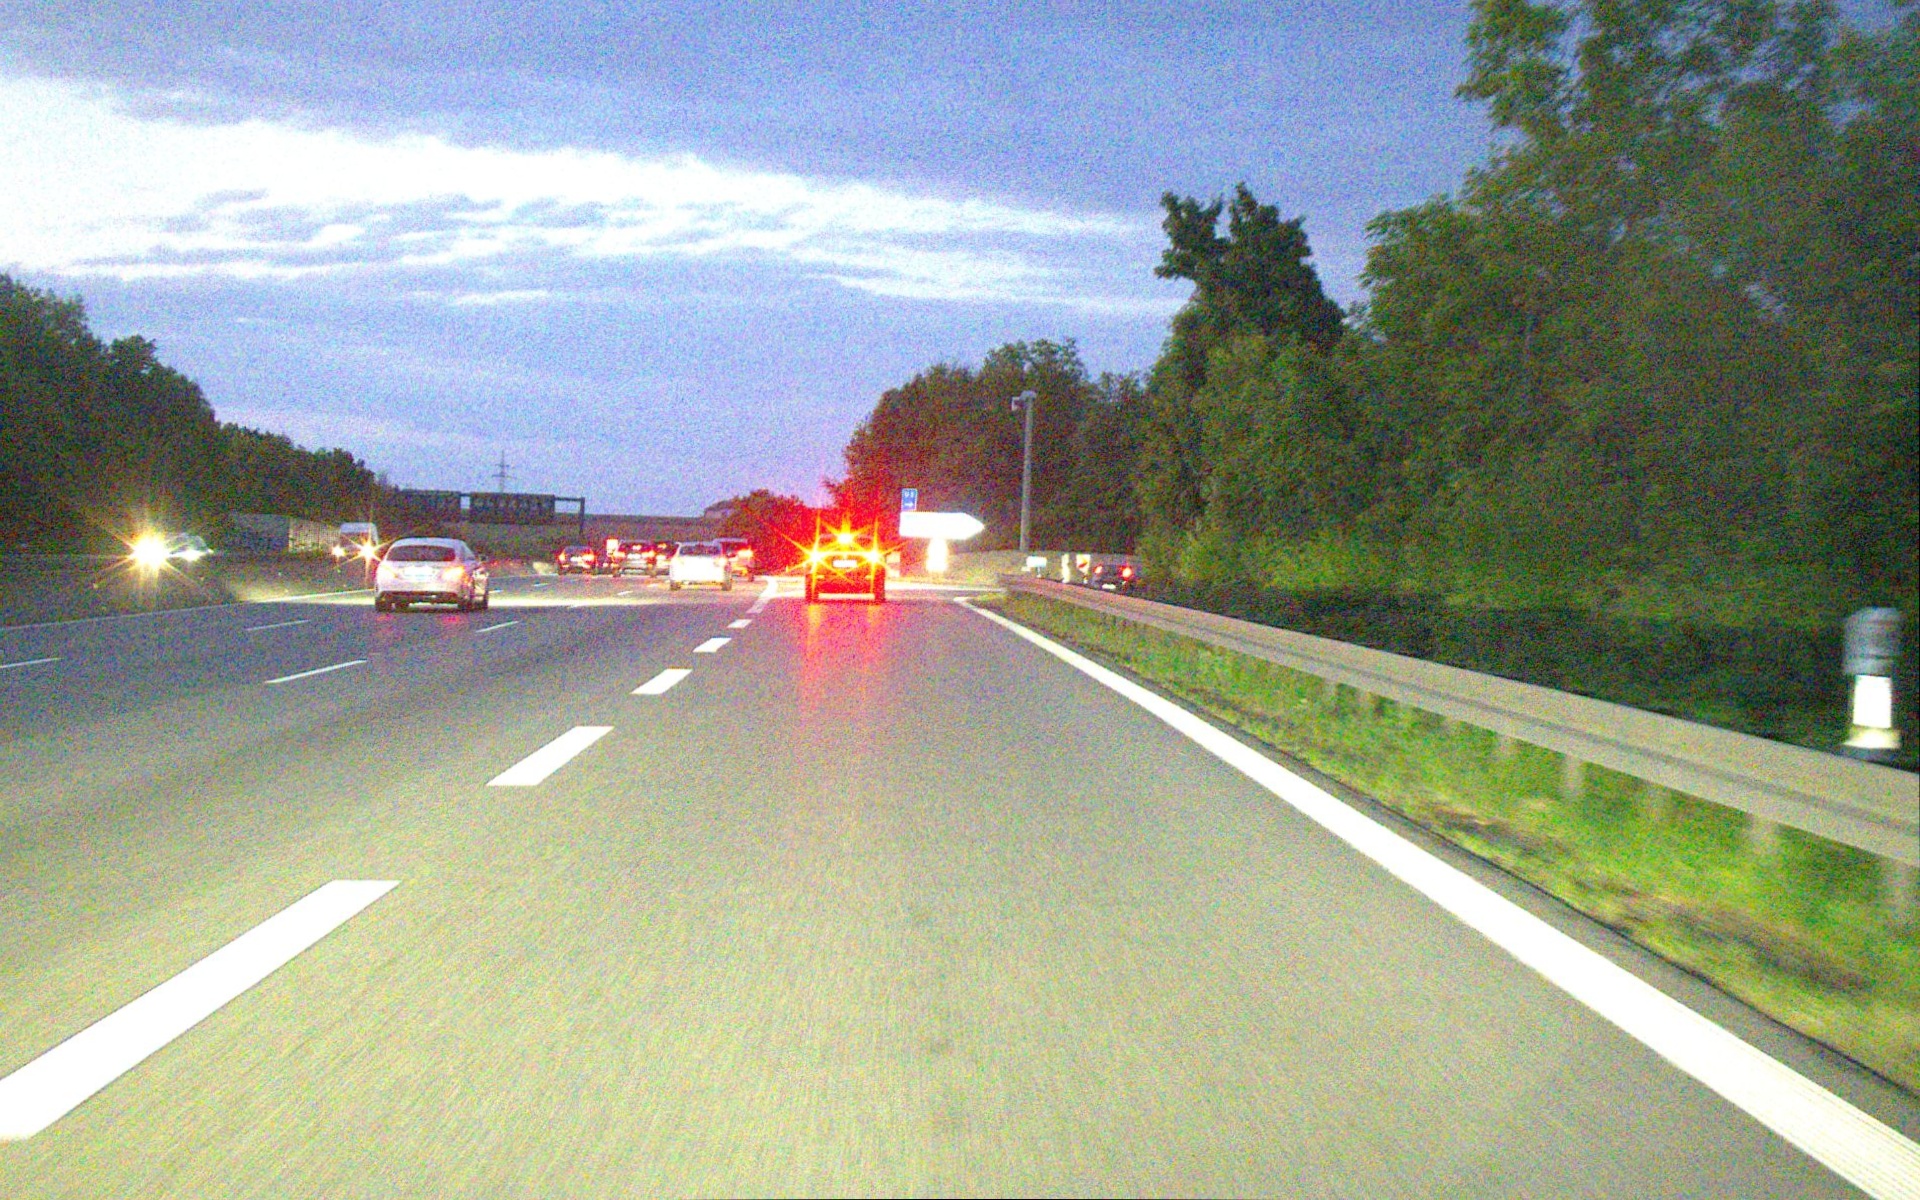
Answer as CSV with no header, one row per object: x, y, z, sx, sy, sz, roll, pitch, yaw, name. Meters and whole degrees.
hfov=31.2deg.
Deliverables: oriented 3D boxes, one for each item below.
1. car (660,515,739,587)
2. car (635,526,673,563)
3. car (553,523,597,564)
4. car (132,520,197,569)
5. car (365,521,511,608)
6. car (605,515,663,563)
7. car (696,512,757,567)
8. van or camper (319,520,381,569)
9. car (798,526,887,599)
-7.484,-1.411,99.113,1.993,2.007,4.000,1,1,-1,car
-16.891,-3.077,189.794,1.993,2.007,4.001,1,1,-6,car
-19.003,-2.801,169.473,2.104,2.007,4.001,-1,1,-7,car
-33.543,-2.358,145.004,2.027,2.007,4.239,1,1,-4,car
-10.192,-0.725,67.452,1.994,1.637,4.554,0,1,2,car
-13.836,-2.592,146.038,2.071,2.007,4.000,0,1,0,car
-8.656,-2.270,127.604,1.993,2.007,4.000,0,1,0,car
-33.526,-3.051,189.008,2.516,2.586,6.490,1,1,-3,van or camper
-2.787,-0.892,80.673,1.993,1.653,4.315,1,1,-3,car
